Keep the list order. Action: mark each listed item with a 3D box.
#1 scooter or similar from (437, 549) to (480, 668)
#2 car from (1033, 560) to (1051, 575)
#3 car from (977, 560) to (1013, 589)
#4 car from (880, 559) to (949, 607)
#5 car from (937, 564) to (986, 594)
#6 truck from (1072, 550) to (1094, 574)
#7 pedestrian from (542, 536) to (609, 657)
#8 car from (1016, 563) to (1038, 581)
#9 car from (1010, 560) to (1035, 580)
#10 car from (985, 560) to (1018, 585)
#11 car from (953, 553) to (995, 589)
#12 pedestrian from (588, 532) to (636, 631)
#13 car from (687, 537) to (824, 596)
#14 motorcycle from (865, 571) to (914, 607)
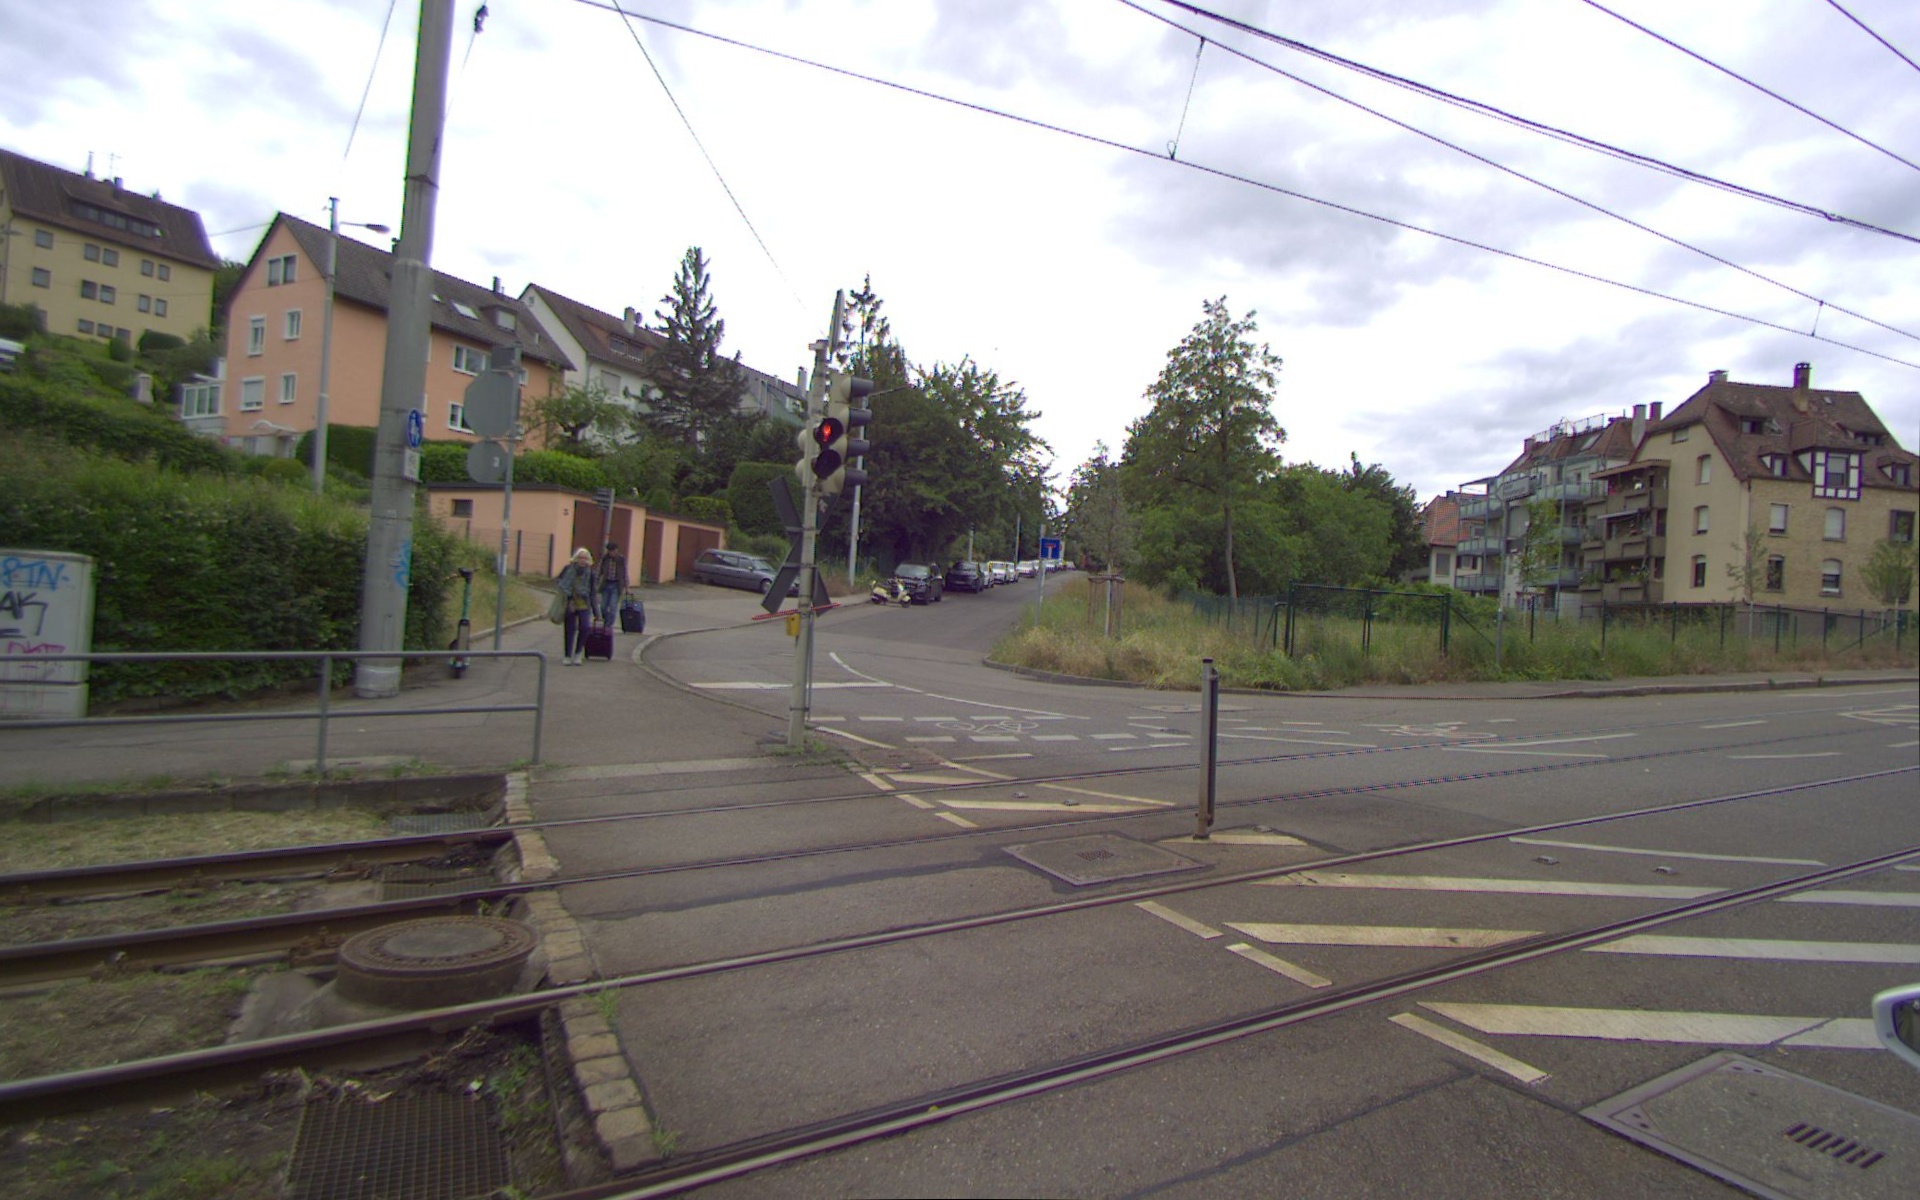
[{"bbox_3d":[-6.093,0.071,12.174,0.413,1.306,1.402,2,4,-28],"label":"scooter or similar"},{"bbox_3d":[9.981,-3.935,121.886,1.800,1.680,4.134,2,0,10],"label":"car"},{"bbox_3d":[2.495,-1.766,70.568,1.863,1.812,4.487,2,0,11],"label":"car"},{"bbox_3d":[-1.827,-0.760,41.693,1.937,1.713,4.452,2,4,9],"label":"car"},{"bbox_3d":[0.123,-1.140,55.863,1.942,1.531,4.134,2,0,11],"label":"car"},{"bbox_3d":[21.660,-6.645,176.634,3.488,3.648,8.204,2,0,8],"label":"truck"},{"bbox_3d":[-5.306,-0.046,13.892,0.744,1.595,0.751,2,1,-15],"label":"pedestrian"},{"bbox_3d":[6.983,-2.924,104.187,1.800,1.680,4.134,2,0,10],"label":"car"},{"bbox_3d":[5.783,-2.733,92.688,1.800,1.680,4.134,2,0,11],"label":"car"},{"bbox_3d":[3.170,-2.032,75.831,1.800,1.680,4.134,2,0,11],"label":"car"},{"bbox_3d":[0.922,-1.777,62.646,1.942,2.040,4.134,2,0,10],"label":"car"},{"bbox_3d":[-6.460,-0.341,18.679,0.730,1.774,0.899,2,1,-15],"label":"pedestrian"},{"bbox_3d":[-7.739,-1.262,37.927,4.792,1.633,1.997,8,3,28],"label":"car"},{"bbox_3d":[-2.689,-0.418,38.445,1.671,1.172,0.522,6,1,7],"label":"motorcycle"}]
